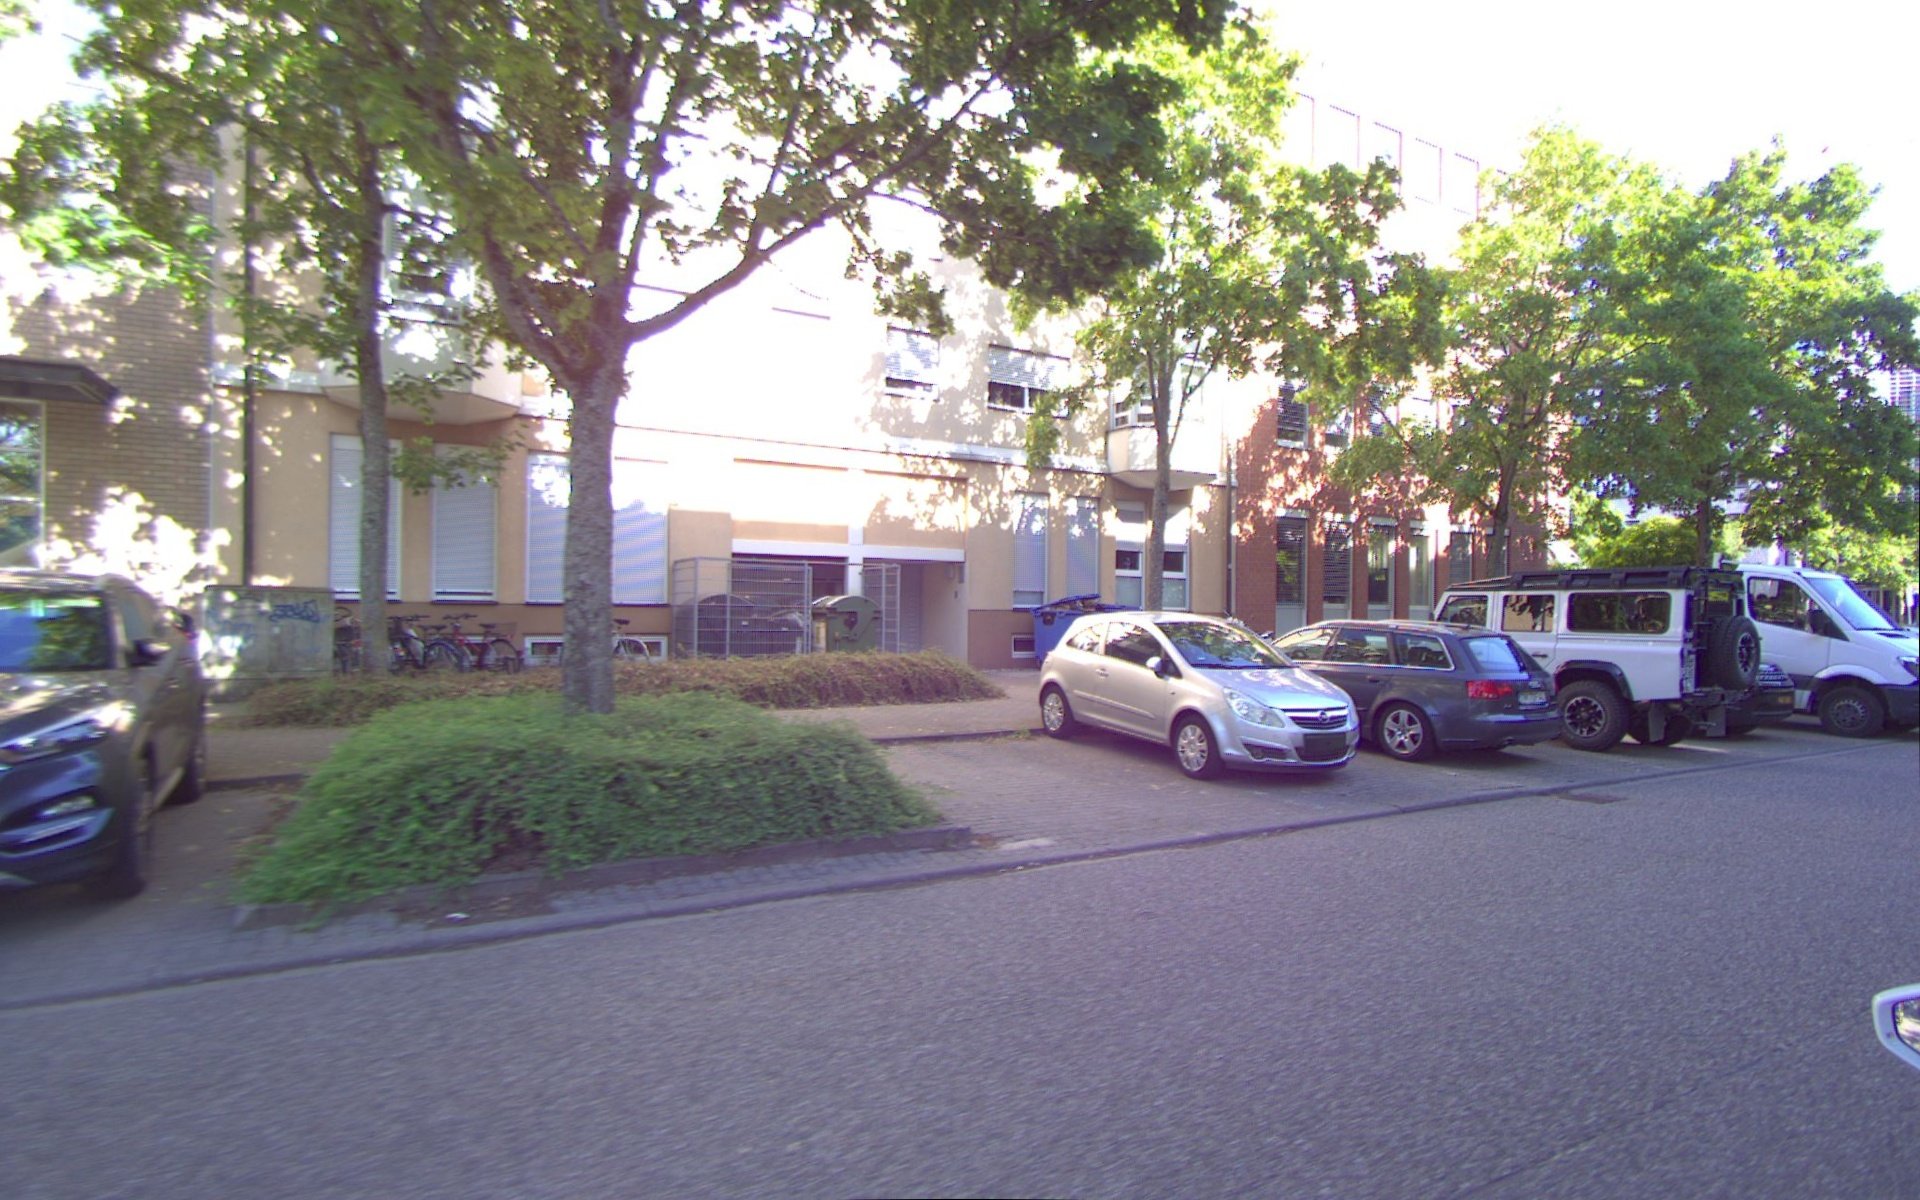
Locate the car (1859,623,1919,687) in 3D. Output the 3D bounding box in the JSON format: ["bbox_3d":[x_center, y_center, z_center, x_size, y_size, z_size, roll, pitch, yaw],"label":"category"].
[{"bbox_3d":[23.018,1.267,22.475,1.765,1.454,3.974,1,-1,-25],"label":"car"}]

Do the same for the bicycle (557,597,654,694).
[{"bbox_3d":[-5.632,0.690,15.927,1.703,1.428,0.612,2,1,38],"label":"bicycle"}]

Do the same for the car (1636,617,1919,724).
[{"bbox_3d":[14.332,1.094,16.993,1.977,1.507,4.404,1,0,-31],"label":"car"}]

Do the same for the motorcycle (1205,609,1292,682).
[{"bbox_3d":[6.619,1.025,23.018,2.086,1.612,0.711,1,-1,-32],"label":"motorcycle"}]

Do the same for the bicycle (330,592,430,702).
[{"bbox_3d":[-8.183,0.629,14.135,1.703,1.428,0.612,2,1,38],"label":"bicycle"}]

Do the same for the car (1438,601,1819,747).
[{"bbox_3d":[9.343,0.918,14.401,1.976,1.684,4.088,1,0,-29],"label":"car"}]

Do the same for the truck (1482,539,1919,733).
[{"bbox_3d":[11.768,0.502,15.774,2.161,2.454,6.205,1,-1,-29],"label":"truck"}]

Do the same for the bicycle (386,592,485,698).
[{"bbox_3d":[-7.656,0.623,14.626,1.703,1.428,0.612,2,1,38],"label":"bicycle"}]

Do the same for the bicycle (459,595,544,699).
[{"bbox_3d":[-6.826,0.663,14.916,0.610,1.428,1.708,1,1,-43],"label":"bicycle"}]

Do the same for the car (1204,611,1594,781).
[{"bbox_3d":[4.866,0.939,11.620,1.813,1.512,3.756,1,1,-33],"label":"car"}]

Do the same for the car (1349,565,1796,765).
[{"bbox_3d":[7.508,0.653,12.831,1.977,2.079,4.460,1,1,-30],"label":"car"}]

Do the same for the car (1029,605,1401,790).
[{"bbox_3d":[2.423,0.838,10.520,1.710,1.480,3.821,1,1,-26],"label":"car"}]

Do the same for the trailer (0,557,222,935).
[{"bbox_3d":[-5.542,0.570,5.749,1.836,1.593,4.235,1,1,-33],"label":"trailer"}]

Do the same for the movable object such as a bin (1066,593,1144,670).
[{"bbox_3d":[3.114,0.662,21.605,1.235,1.583,1.134,1,-1,-42],"label":"movable object such as a bin"}]

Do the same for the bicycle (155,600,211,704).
[{"bbox_3d":[-10.207,0.642,13.182,0.448,1.246,1.676,1,1,-42],"label":"bicycle"}]

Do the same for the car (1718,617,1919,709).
[{"bbox_3d":[16.955,1.132,18.409,1.868,1.461,4.517,0,1,-31],"label":"car"}]

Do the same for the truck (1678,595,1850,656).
[{"bbox_3d":[39.007,1.226,48.928,2.549,2.740,6.073,1,-1,-31],"label":"truck"}]

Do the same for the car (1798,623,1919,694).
[{"bbox_3d":[20.757,1.240,21.519,1.701,1.454,3.969,0,-1,-29],"label":"car"}]

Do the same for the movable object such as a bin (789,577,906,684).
[{"bbox_3d":[-2.055,0.531,18.229,1.644,1.820,1.592,1,-1,-29],"label":"movable object such as a bin"}]

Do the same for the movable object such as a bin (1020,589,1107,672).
[{"bbox_3d":[2.142,0.624,20.732,1.431,1.641,1.134,1,-1,-42],"label":"movable object such as a bin"}]
